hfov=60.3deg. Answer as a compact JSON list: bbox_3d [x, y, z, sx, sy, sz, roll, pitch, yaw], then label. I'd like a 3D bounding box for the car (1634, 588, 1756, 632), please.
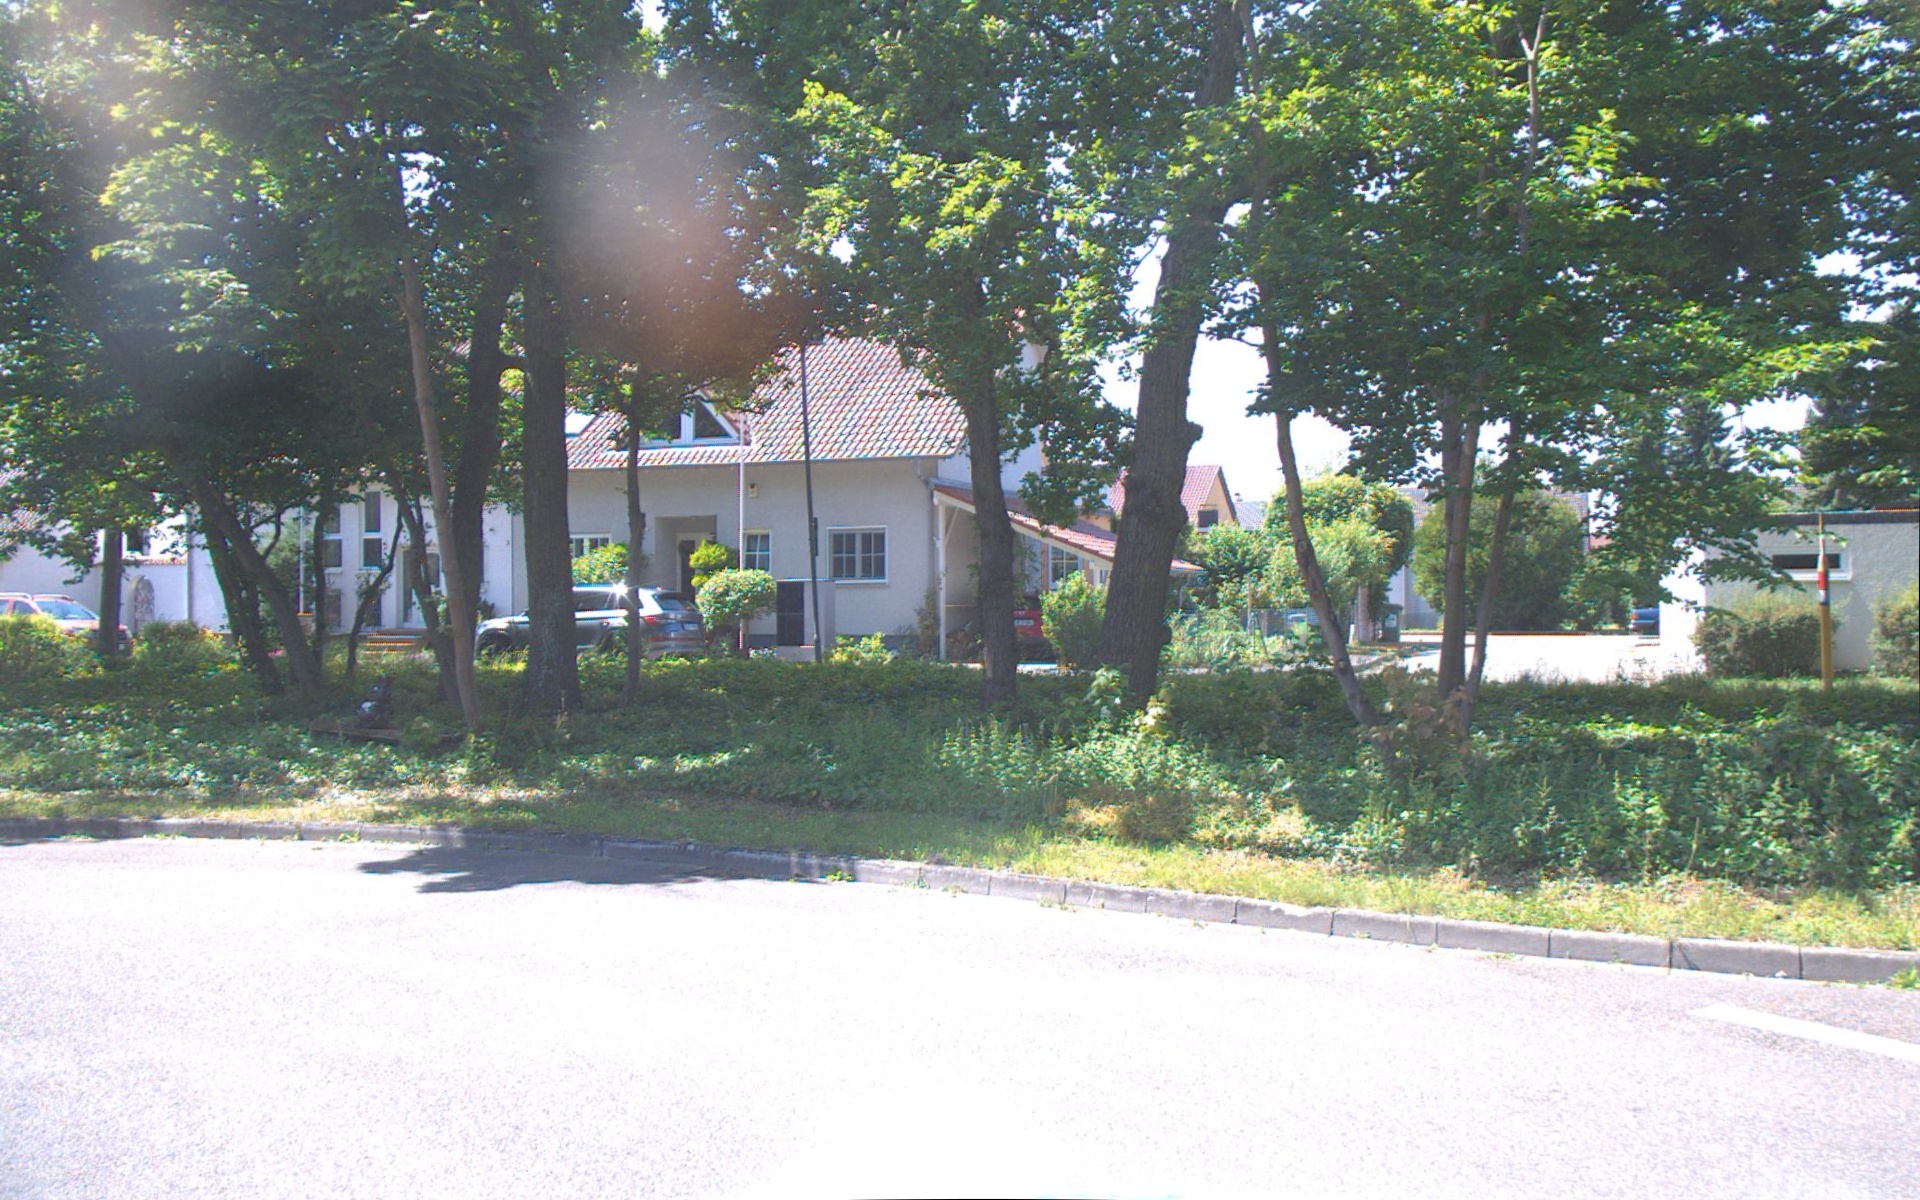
[{"bbox_3d":[22.059,0.305,49.722,3.199,1.275,1.574,-1,0,19],"label":"car"}]

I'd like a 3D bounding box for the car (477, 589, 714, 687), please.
[{"bbox_3d":[-6.789,0.698,30.838,4.043,1.735,1.667,-1,0,19],"label":"car"}]

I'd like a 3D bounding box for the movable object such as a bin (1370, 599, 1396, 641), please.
[{"bbox_3d":[11.707,0.552,45.776,0.643,1.132,0.457,-1,0,18],"label":"movable object such as a bin"}]

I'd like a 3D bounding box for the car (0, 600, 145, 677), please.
[{"bbox_3d":[-20.160,0.837,36.616,3.932,1.629,1.665,-1,0,23],"label":"car"}]

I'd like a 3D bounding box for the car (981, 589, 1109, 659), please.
[{"bbox_3d":[1.885,0.480,35.806,1.645,1.409,3.694,-1,0,22],"label":"car"}]
